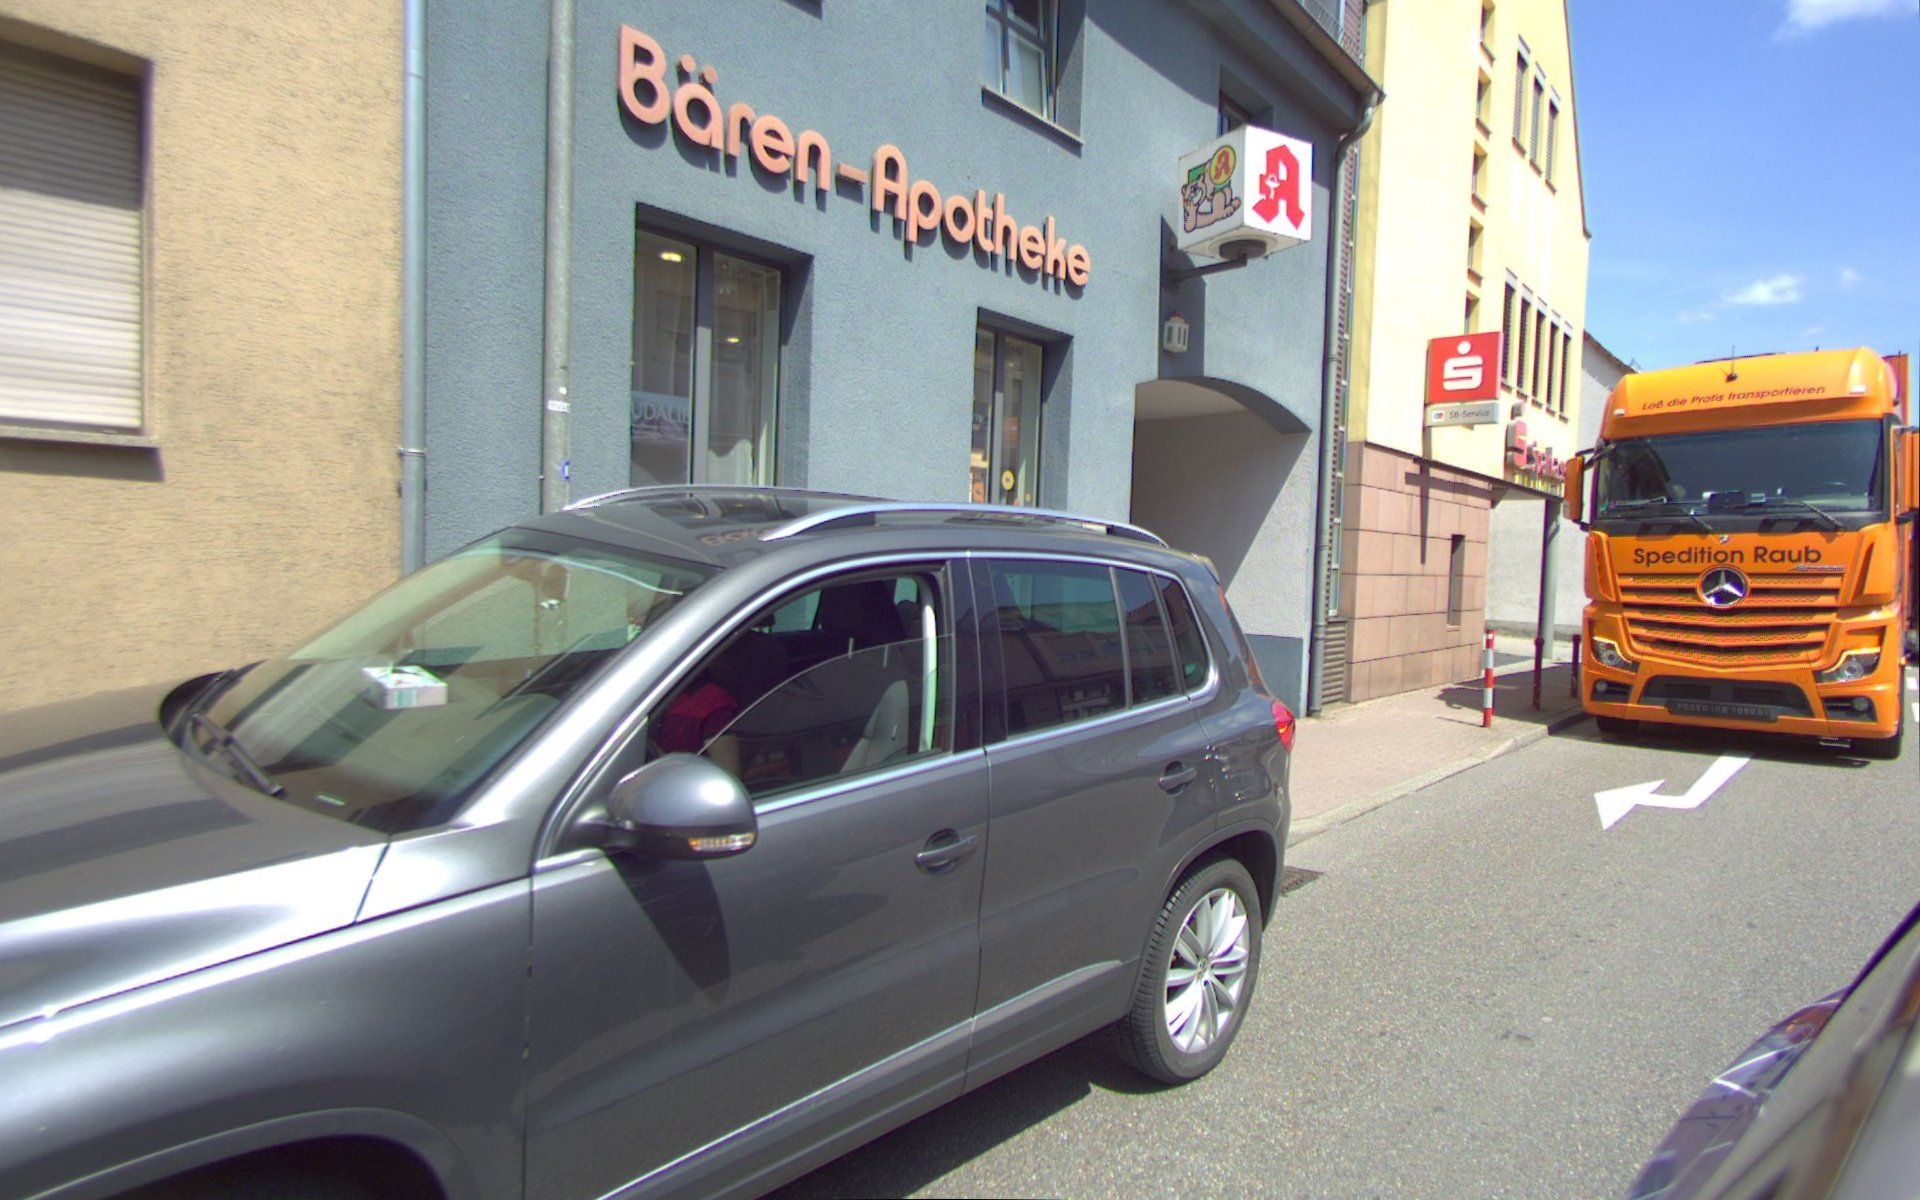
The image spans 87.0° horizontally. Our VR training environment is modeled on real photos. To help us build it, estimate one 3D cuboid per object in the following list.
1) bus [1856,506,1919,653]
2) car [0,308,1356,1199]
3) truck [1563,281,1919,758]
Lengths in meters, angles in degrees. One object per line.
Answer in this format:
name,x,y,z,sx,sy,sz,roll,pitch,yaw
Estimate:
bus,27.242,-0.467,27.727,2.847,3.244,18.767,3,2,38
car,-0.838,0.453,2.746,4.034,1.729,1.996,0,5,-45
truck,10.536,-0.652,12.912,2.609,3.995,9.830,1,0,45
